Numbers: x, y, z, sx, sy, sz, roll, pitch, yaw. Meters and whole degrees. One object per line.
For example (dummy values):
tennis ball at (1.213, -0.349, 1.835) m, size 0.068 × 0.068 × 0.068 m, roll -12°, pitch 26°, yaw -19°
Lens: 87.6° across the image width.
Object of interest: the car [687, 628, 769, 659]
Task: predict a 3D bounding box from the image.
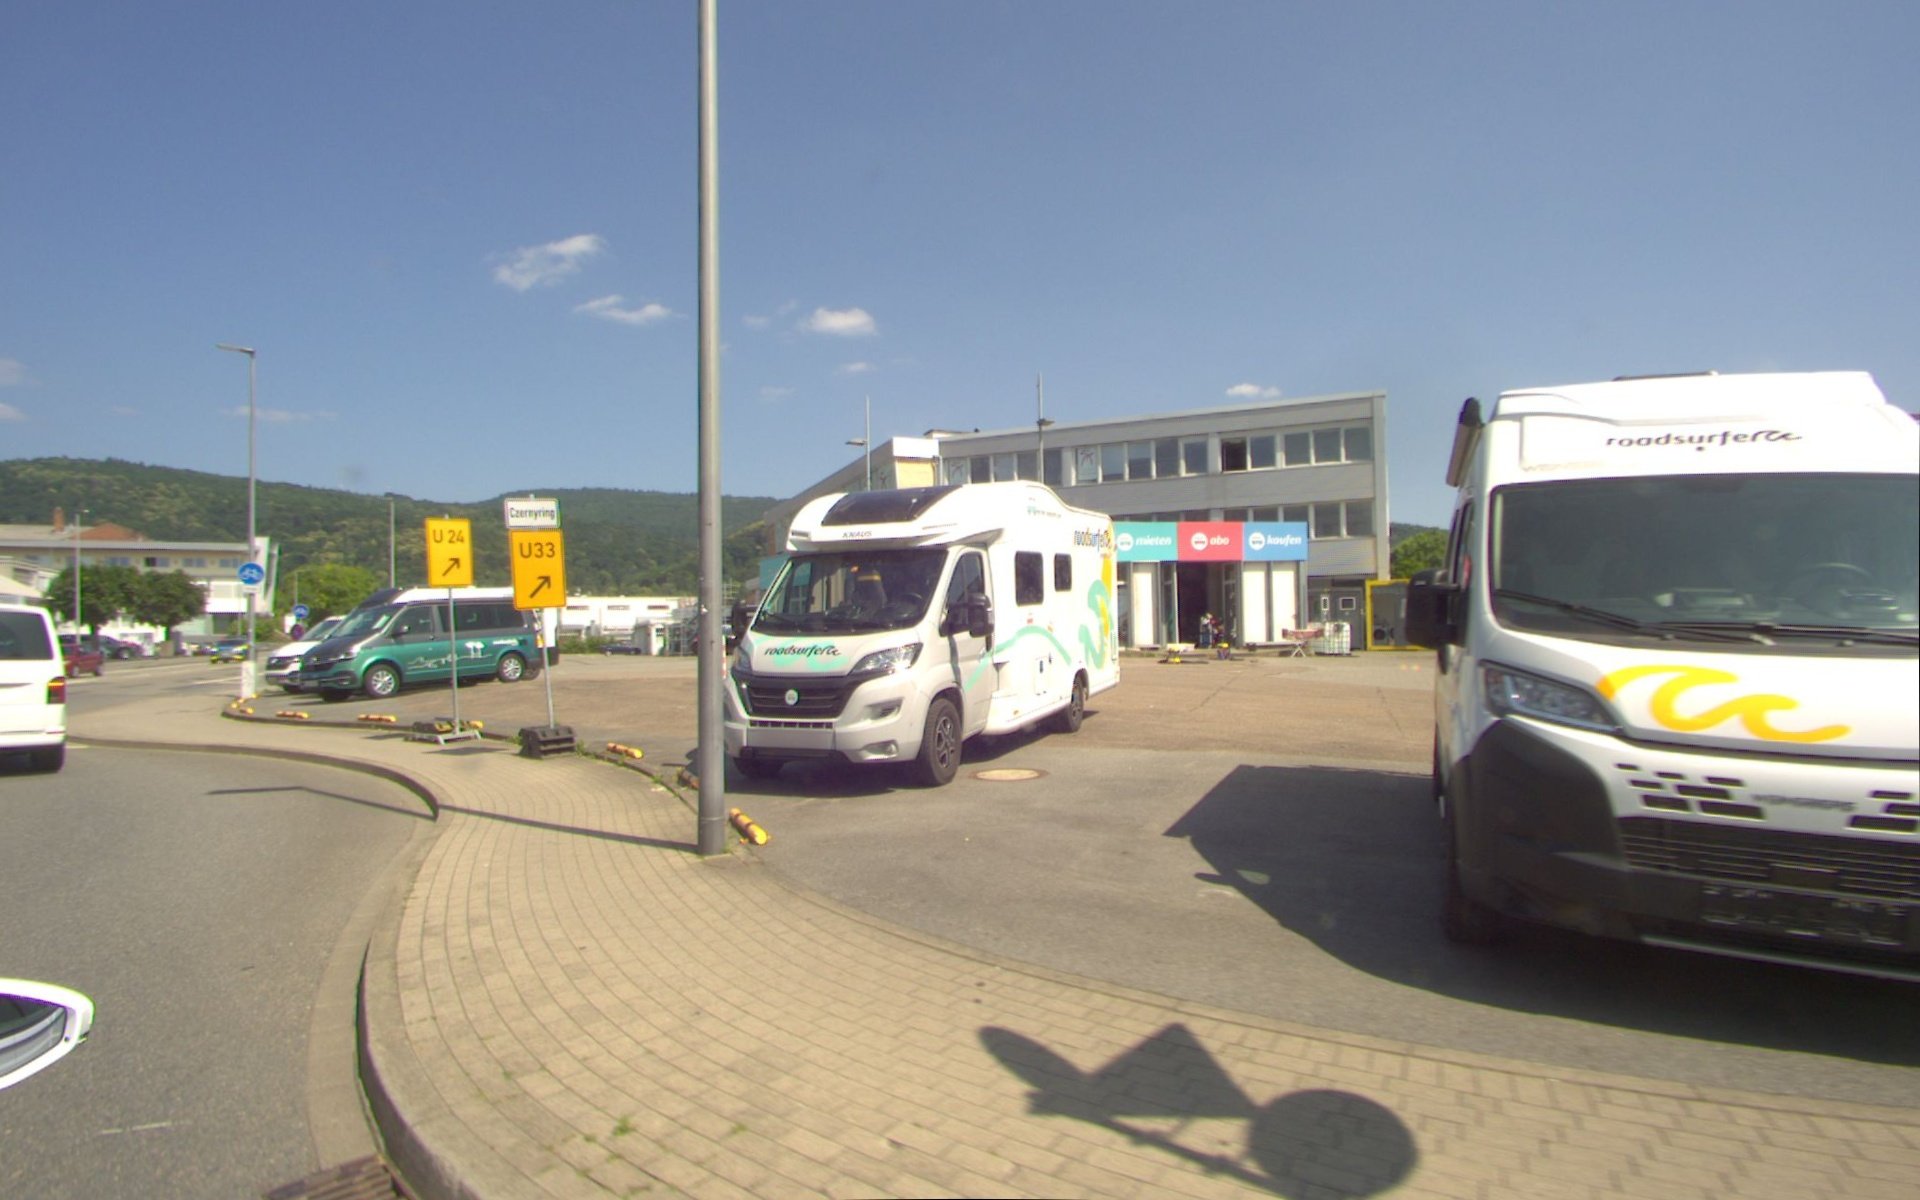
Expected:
car at (-12.186, 2.254, 52.612) m, size 3.938 × 1.538 × 1.884 m, roll 0°, pitch -1°, yaw -26°

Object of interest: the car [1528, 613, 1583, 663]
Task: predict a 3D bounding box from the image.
car at (32.321, 2.063, 54.442) m, size 2.077 × 2.558 × 5.589 m, roll -1°, pitch -2°, yaw 26°

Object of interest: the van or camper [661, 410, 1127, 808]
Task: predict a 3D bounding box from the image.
van or camper at (-0.082, 0.115, 11.233) m, size 2.296 × 2.985 × 7.066 m, roll -1°, pitch -1°, yaw 22°

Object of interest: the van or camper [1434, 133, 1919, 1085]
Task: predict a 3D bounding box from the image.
van or camper at (3.875, 0.089, 5.679) m, size 2.056 × 2.810 × 5.813 m, roll 0°, pitch -1°, yaw 25°

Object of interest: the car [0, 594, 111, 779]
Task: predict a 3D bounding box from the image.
car at (-12.593, 0.979, 12.551) m, size 4.959 × 2.038 × 2.154 m, roll -1°, pitch -3°, yaw 41°

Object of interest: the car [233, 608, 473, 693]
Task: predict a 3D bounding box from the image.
car at (-15.946, 1.295, 26.624) m, size 1.997 × 2.026 × 5.133 m, roll -2°, pitch -2°, yaw 32°

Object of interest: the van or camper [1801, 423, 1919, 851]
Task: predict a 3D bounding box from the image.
van or camper at (7.151, 0.235, 5.924) m, size 2.015 × 2.850 × 5.508 m, roll 1°, pitch -2°, yaw 26°

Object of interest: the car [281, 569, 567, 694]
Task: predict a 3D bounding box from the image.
car at (-13.297, 0.776, 25.392) m, size 2.273 × 2.752 × 6.130 m, roll -1°, pitch -1°, yaw 30°

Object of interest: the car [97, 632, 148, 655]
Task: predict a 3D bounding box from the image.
car at (-58.907, 3.072, 70.418) m, size 3.610 × 1.605 × 1.742 m, roll -2°, pitch -2°, yaw 33°

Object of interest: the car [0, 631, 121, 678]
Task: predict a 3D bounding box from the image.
car at (-38.025, 2.266, 42.495) m, size 1.992 × 1.861 × 4.862 m, roll 0°, pitch -2°, yaw -18°

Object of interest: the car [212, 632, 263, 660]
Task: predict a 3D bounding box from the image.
car at (-47.538, 2.991, 65.938) m, size 1.885 × 1.782 × 4.436 m, roll 0°, pitch -1°, yaw -25°

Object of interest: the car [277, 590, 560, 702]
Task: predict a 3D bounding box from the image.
car at (-11.605, 0.961, 21.944) m, size 2.065 × 2.140 × 5.207 m, roll -1°, pitch -2°, yaw 28°

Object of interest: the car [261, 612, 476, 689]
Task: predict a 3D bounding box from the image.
car at (-17.271, 1.408, 29.516) m, size 1.906 × 2.040 × 5.116 m, roll -1°, pitch -1°, yaw 36°
